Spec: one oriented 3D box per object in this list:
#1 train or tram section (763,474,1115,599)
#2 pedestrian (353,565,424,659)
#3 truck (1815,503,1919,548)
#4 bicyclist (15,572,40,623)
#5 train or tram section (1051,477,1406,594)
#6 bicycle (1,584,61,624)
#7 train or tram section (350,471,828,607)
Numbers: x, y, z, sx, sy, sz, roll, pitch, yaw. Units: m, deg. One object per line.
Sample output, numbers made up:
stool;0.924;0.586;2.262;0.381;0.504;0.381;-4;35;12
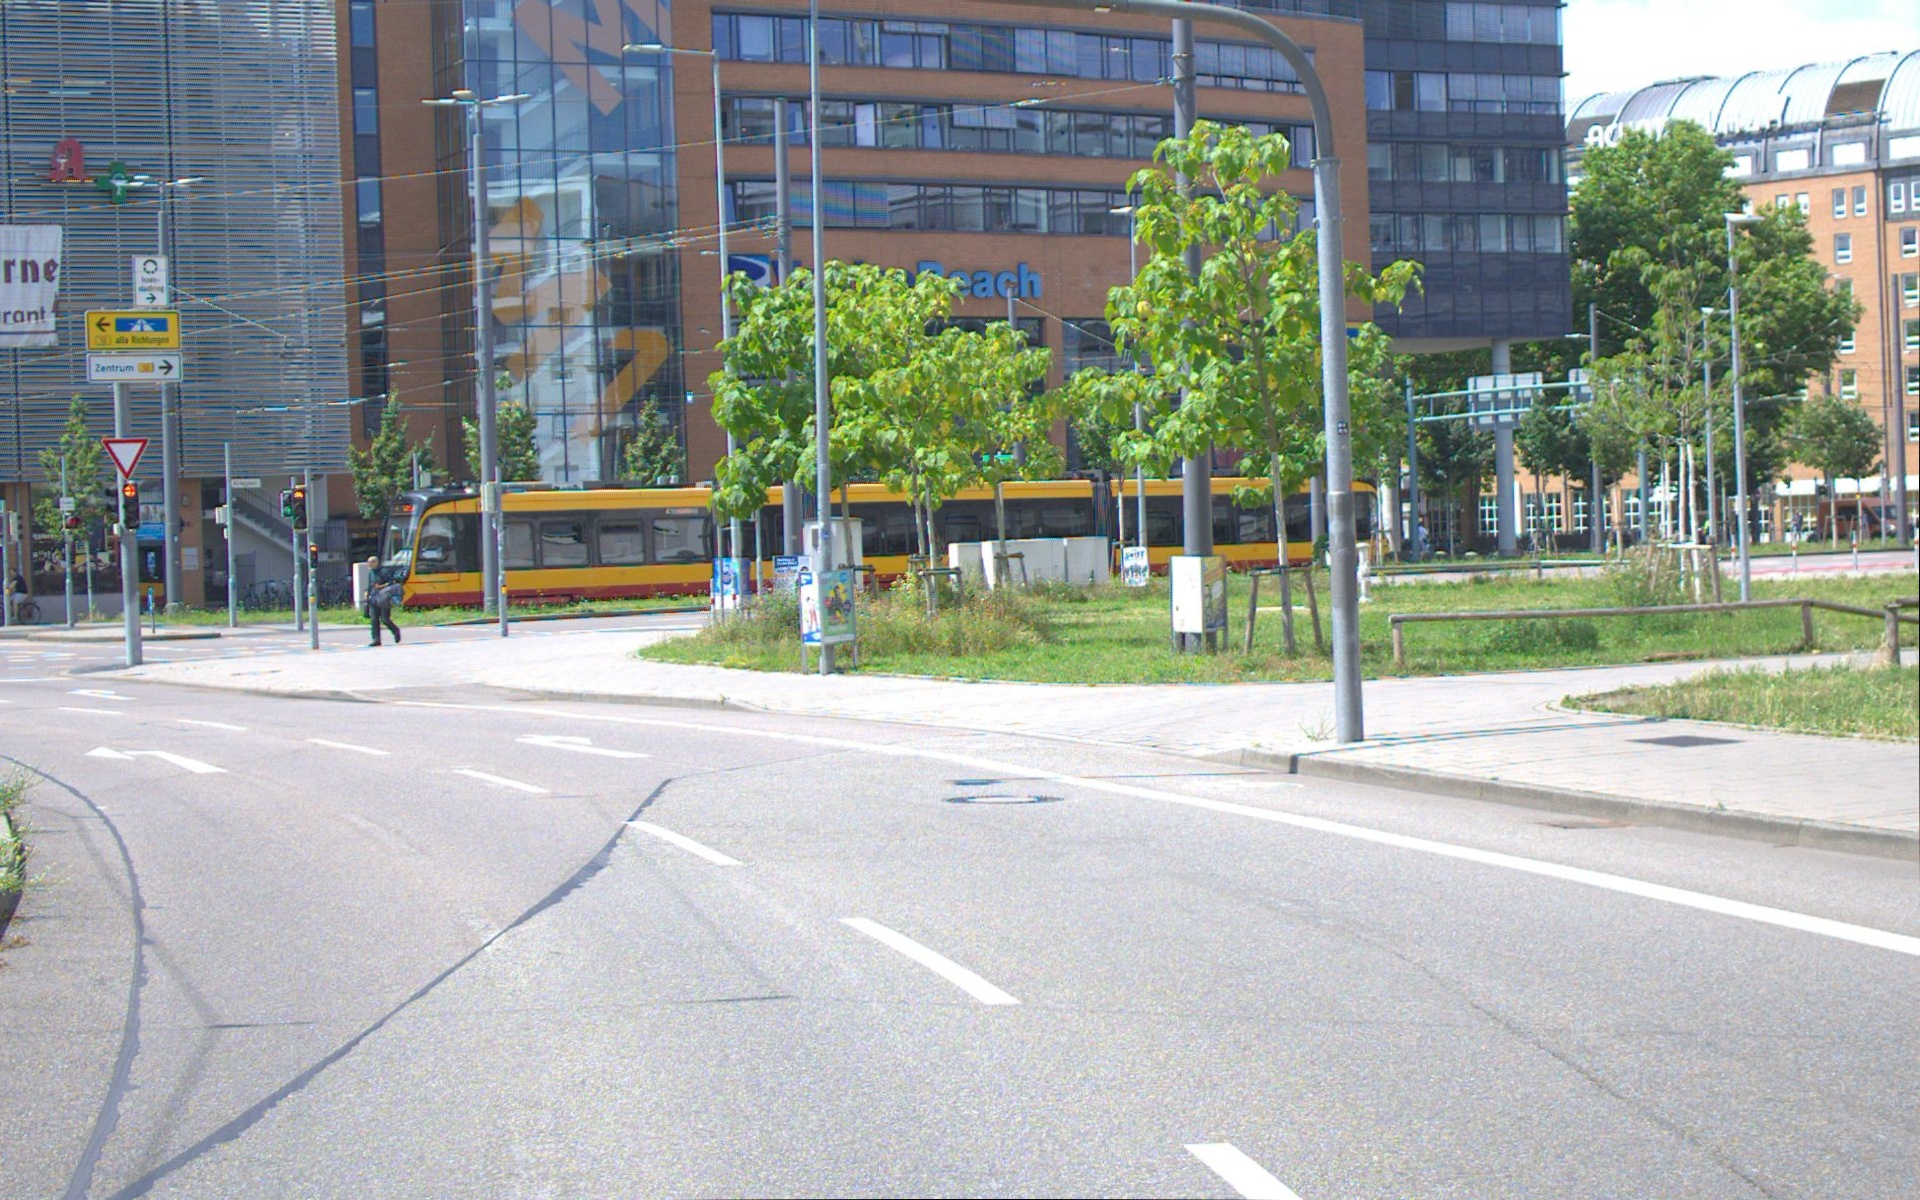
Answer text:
train or tram section;-0.509;-1.920;103.457;10.960;3.591;3.064;-1;1;-38
pedestrian;-10.611;0.223;63.852;0.917;1.696;0.807;-2;1;35
truck;44.182;-3.584;166.495;1.994;2.078;5.523;-1;1;-33
bicyclist;-29.598;-0.074;109.090;0.662;1.618;0.551;-1;0;-25
train or tram section;8.794;-2.086;110.845;12.598;3.608;3.064;-1;1;-38
bicycle;-29.496;0.125;109.136;1.760;1.219;0.584;-1;0;-25
train or tram section;-10.174;-1.725;96.059;13.459;3.587;3.226;-1;1;-37
